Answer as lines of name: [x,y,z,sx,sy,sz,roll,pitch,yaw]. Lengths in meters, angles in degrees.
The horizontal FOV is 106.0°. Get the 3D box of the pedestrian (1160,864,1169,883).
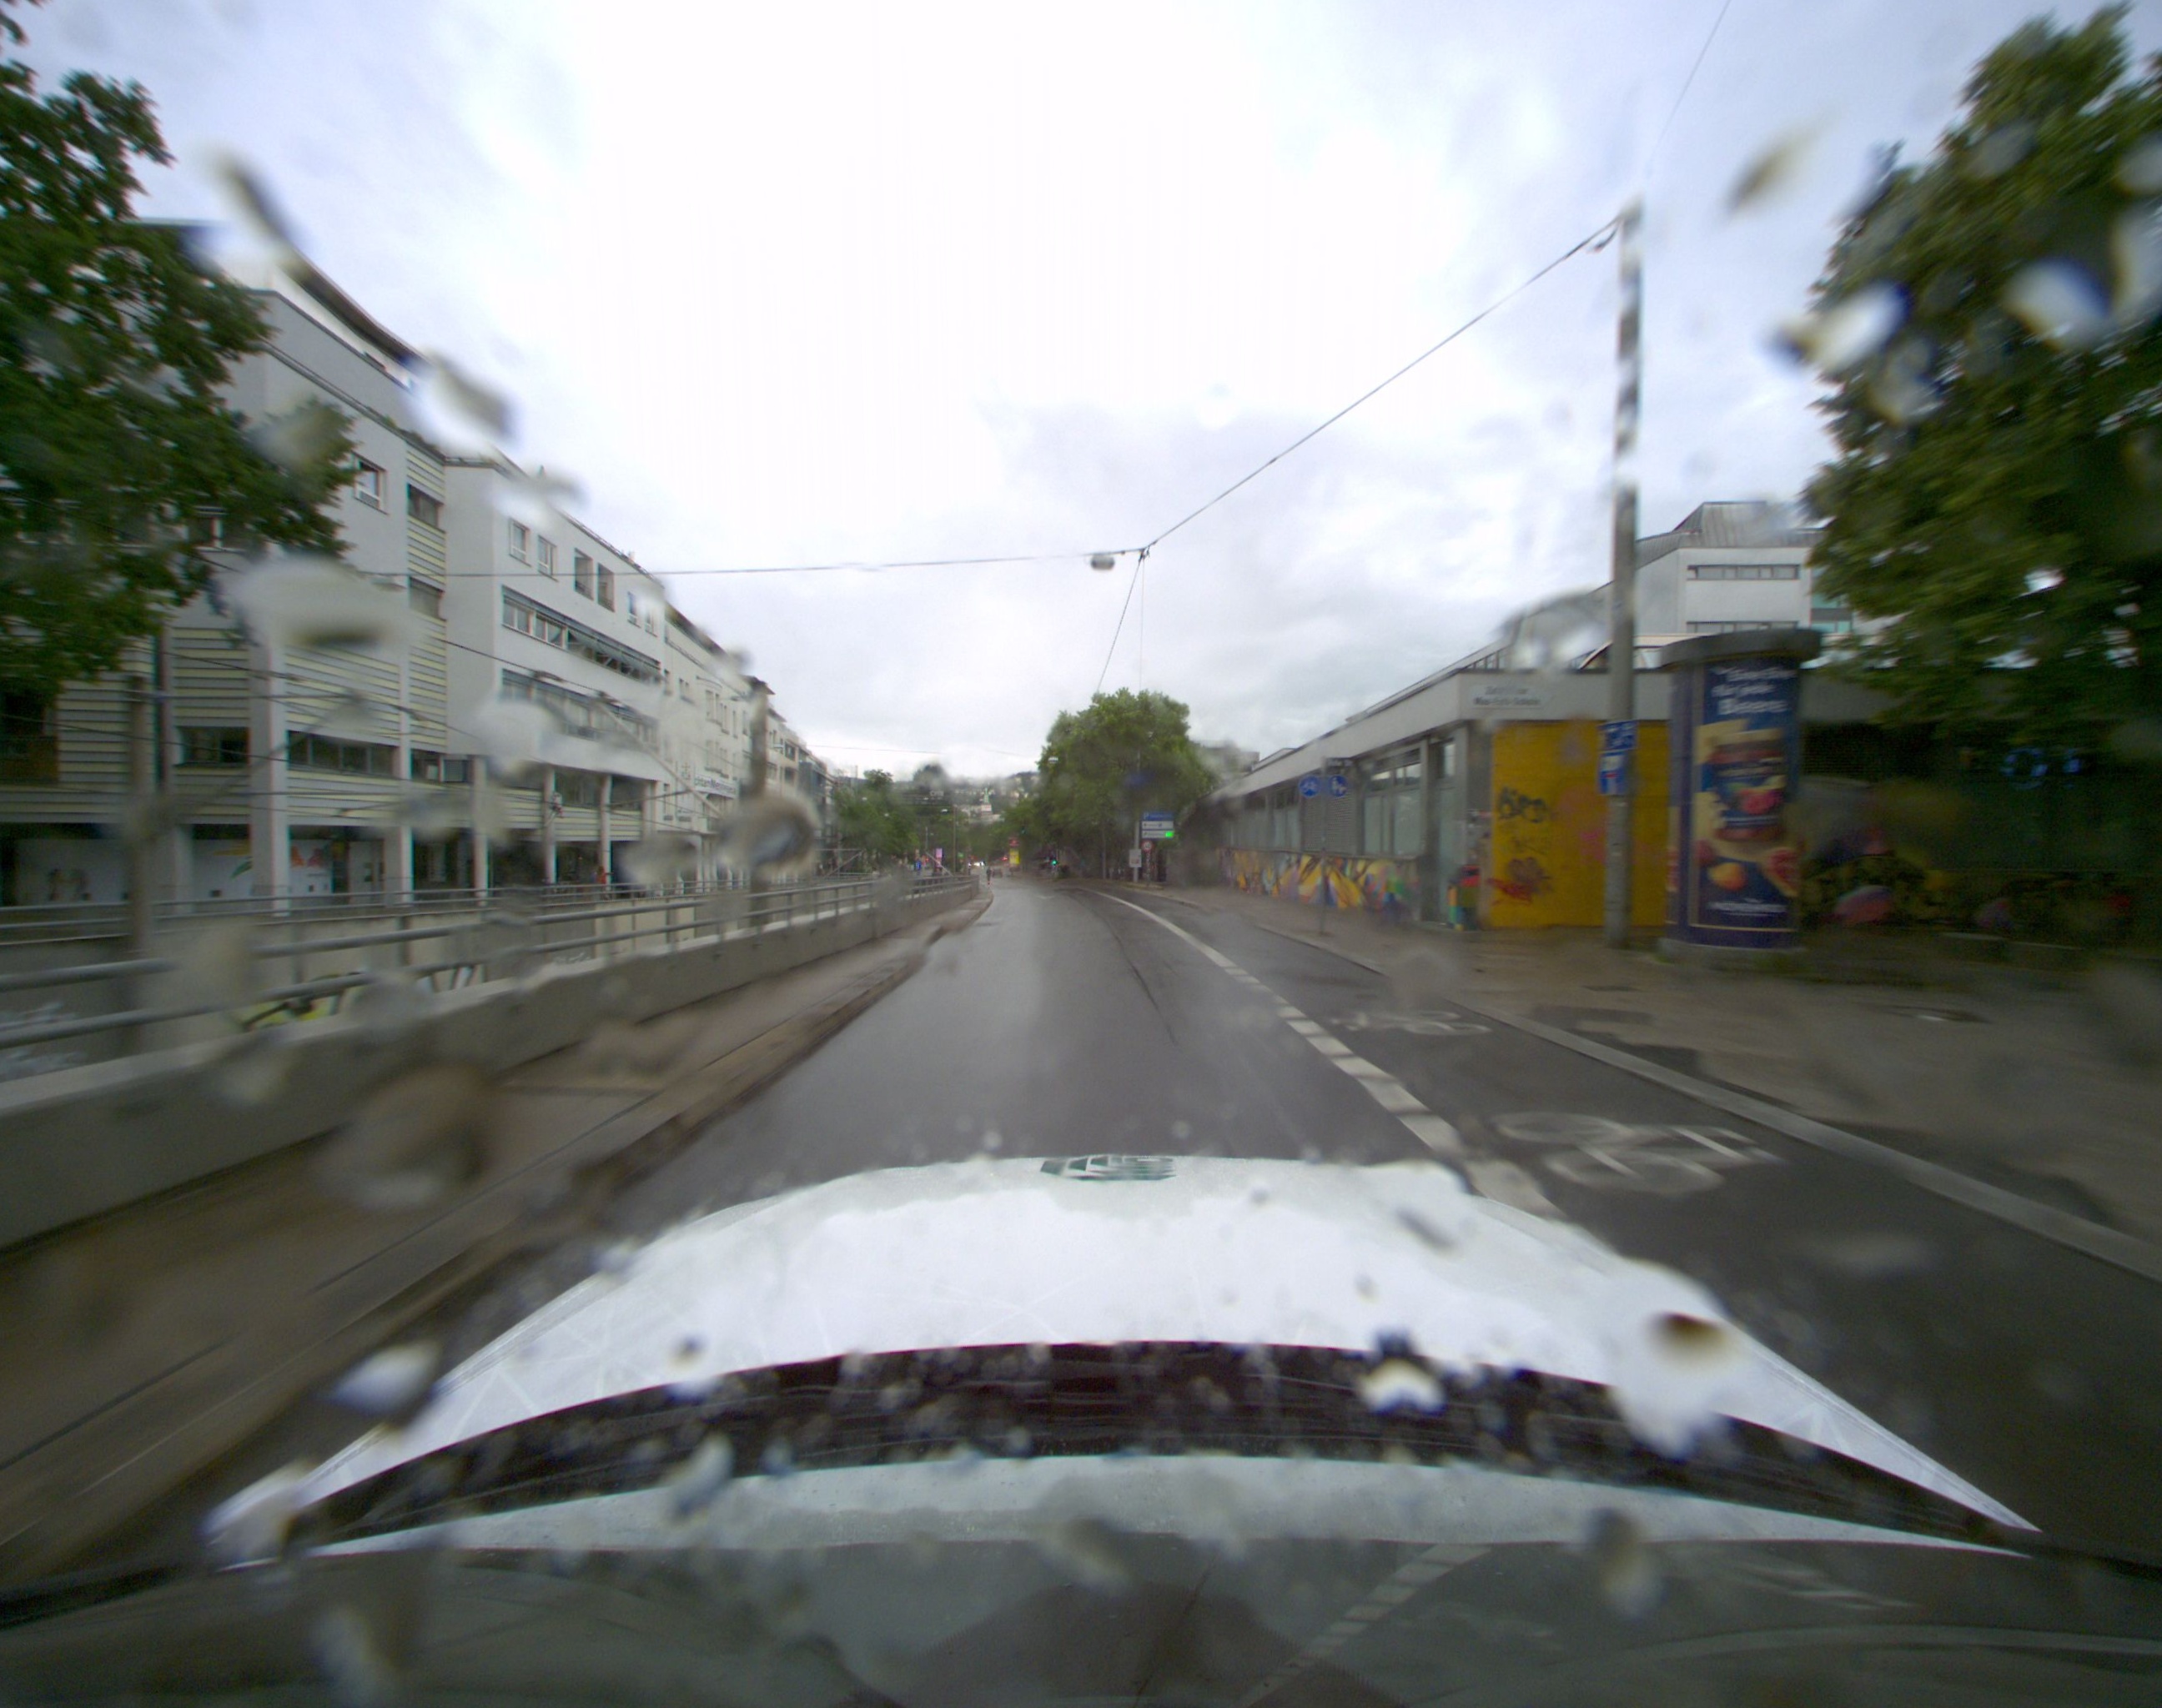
pedestrian: [8.324,1.937,81.222,0.804,1.864,1.056,-2,-1,0]

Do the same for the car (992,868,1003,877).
car: [-14.351,3.101,139.803,1.746,1.519,4.093,0,-1,-9]

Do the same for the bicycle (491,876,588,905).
bicycle: [-24.485,1.611,37.024,1.690,1.043,4.514,-2,1,-5]

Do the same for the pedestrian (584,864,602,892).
pedestrian: [-25.755,1.264,42.989,0.606,1.419,0.672,0,-1,-5]

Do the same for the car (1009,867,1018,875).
car: [-15.131,3.773,182.397,1.898,1.684,3.903,0,-1,-5]

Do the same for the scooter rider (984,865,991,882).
scooter rider: [-10.954,2.318,95.452,0.809,1.948,0.819,1,-1,-11]

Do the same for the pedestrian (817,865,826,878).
pedestrian: [-37.840,2.601,118.718,0.859,1.868,0.962,0,-1,9]

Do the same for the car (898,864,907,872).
car: [-38.987,3.057,178.033,1.780,1.555,3.880,1,1,-10]

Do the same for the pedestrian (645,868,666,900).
pedestrian: [-22.367,1.557,42.821,0.785,1.643,0.678,-1,-1,37]

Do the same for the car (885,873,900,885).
car: [-29.059,3.821,125.486,1.835,1.713,4.565,0,0,-7]

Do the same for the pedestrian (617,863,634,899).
pedestrian: [-23.341,1.371,41.772,0.674,1.785,0.935,0,-1,-24]

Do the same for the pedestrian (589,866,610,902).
pedestrian: [-21.780,1.344,36.846,0.674,1.616,0.935,0,-1,-24]

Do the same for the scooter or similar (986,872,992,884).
scooter or similar: [-10.809,2.785,95.387,0.546,1.419,1.948,0,-1,-11]

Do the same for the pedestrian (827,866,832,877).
pedestrian: [-36.088,2.515,116.738,0.664,1.672,0.486,0,-1,-11]

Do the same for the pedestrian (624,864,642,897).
pedestrian: [-23.653,1.373,42.977,0.601,1.722,0.678,-1,-1,41]
